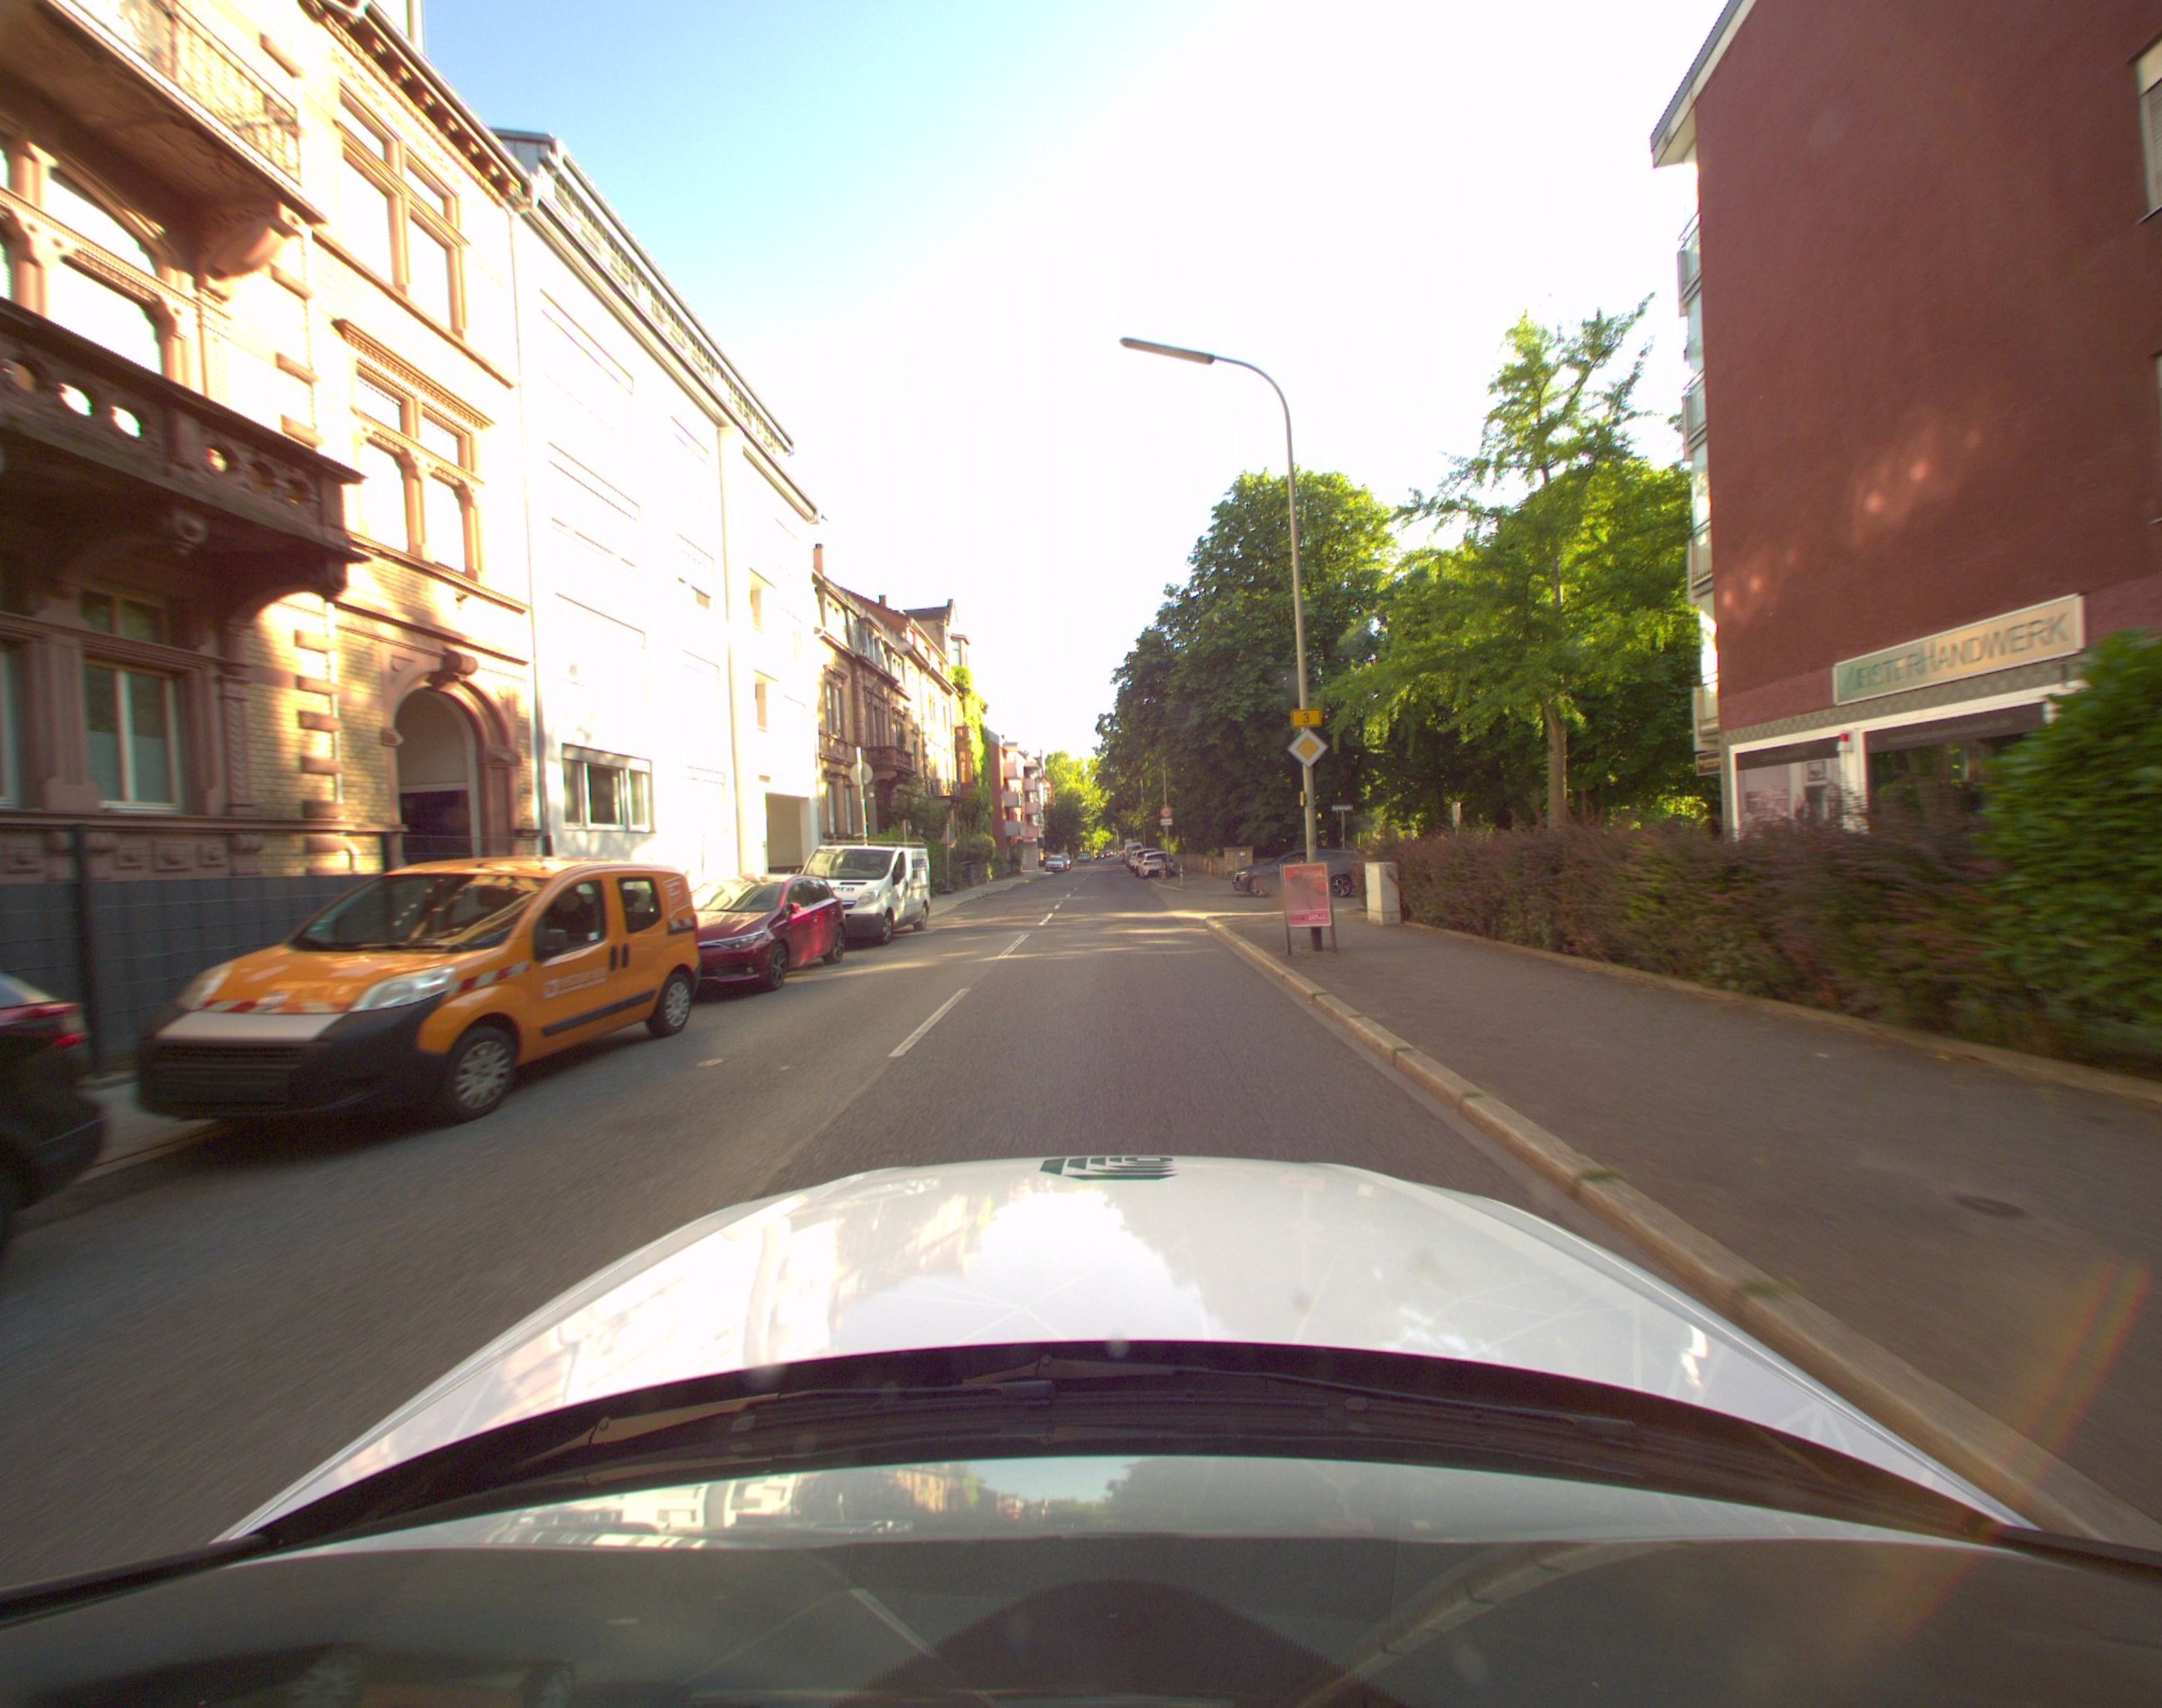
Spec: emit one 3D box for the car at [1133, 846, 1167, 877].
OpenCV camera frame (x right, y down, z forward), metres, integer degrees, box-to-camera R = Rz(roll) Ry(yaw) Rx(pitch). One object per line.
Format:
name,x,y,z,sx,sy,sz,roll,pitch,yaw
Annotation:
car,4.325,0.411,51.713,1.985,1.737,4.004,-3,1,3

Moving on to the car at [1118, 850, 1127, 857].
car,10.938,-0.130,213.033,1.988,1.491,4.469,-3,1,-1

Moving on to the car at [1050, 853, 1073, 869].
car,-2.032,0.705,86.117,1.986,1.491,4.473,-3,1,2

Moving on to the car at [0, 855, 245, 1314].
car,-4.983,0.900,1.707,1.695,1.707,4.444,-1,0,3

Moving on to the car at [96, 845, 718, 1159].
car,-4.677,0.825,6.542,1.696,1.738,3.857,-1,0,1

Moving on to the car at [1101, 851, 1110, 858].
car,5.947,0.055,197.706,1.986,1.491,4.473,-3,1,2

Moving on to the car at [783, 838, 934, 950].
car,-4.518,0.724,17.310,1.786,2.010,4.698,-1,0,1

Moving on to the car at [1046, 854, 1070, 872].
car,-2.177,0.852,78.577,1.986,1.491,4.473,-3,1,2

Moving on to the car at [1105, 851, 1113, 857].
car,7.387,-0.089,217.747,1.986,1.491,4.473,-3,1,2

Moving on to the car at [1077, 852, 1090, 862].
car,0.450,0.571,145.366,1.986,1.491,4.473,-3,1,2

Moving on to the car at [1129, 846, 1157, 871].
car,4.697,0.327,62.395,1.985,1.737,4.004,-3,1,3

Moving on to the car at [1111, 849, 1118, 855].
car,9.734,-0.671,239.845,1.986,1.491,4.473,-3,1,2

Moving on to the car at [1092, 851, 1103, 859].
car,3.395,0.129,167.761,1.986,1.491,4.473,-3,1,2

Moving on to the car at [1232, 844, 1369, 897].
car,7.514,0.550,28.243,4.409,1.653,2.006,-1,1,10

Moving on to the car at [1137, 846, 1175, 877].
car,4.206,0.412,46.211,1.985,1.517,4.004,-3,1,3

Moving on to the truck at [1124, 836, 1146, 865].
truck,5.770,-0.438,87.379,1.986,2.896,4.472,-3,1,2

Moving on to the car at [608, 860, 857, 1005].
car,-4.687,0.944,11.683,1.696,1.619,4.118,-1,0,1
